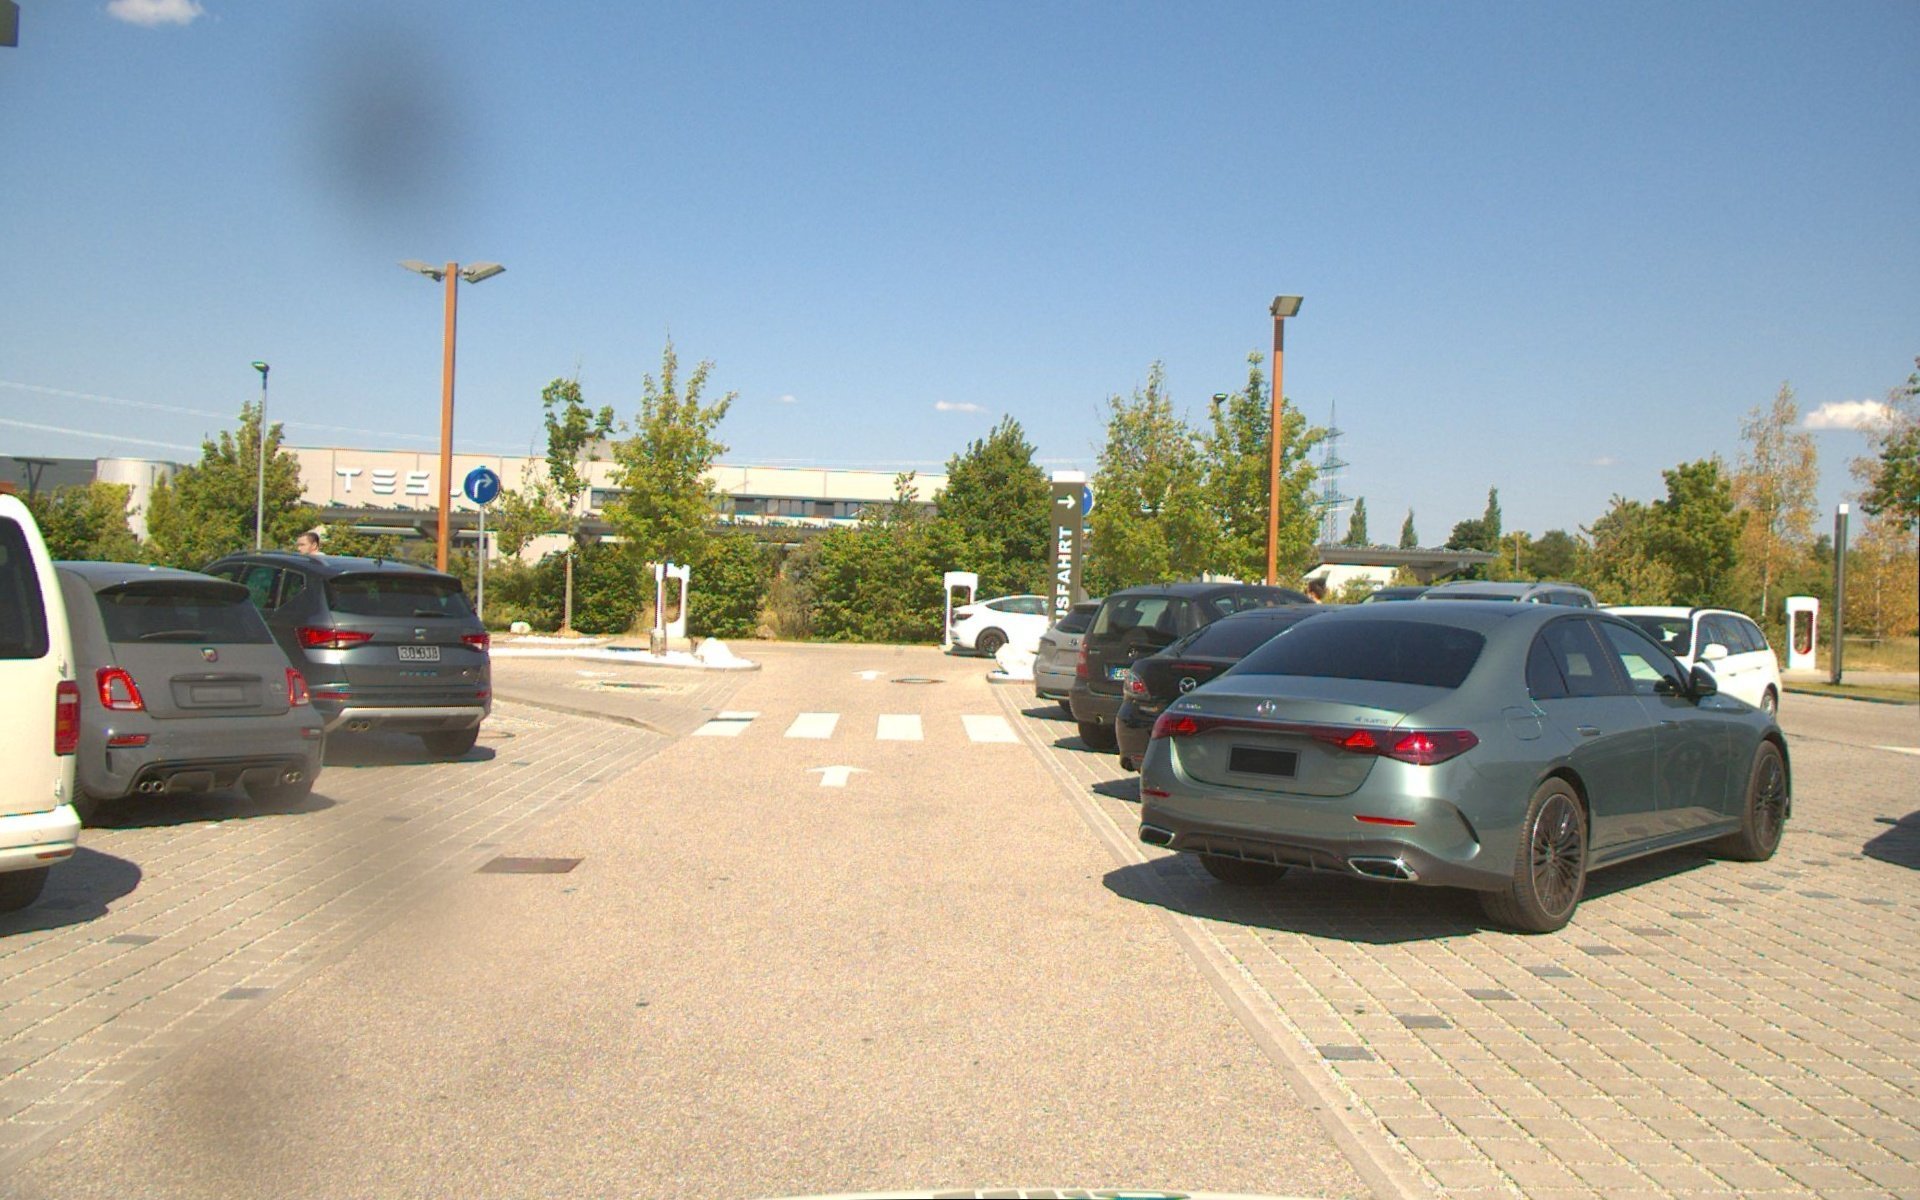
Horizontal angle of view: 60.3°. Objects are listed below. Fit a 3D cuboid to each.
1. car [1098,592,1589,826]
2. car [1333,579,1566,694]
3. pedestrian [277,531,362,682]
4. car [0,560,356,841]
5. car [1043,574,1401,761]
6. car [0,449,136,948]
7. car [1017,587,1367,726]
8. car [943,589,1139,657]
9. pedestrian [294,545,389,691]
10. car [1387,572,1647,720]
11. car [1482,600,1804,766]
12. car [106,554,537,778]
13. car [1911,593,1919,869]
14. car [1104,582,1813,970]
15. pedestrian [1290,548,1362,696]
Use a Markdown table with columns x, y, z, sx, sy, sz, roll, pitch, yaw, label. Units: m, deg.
| x | y | z | sx | sy | sz | roll | pitch | yaw | label |
| --- | --- | --- | --- | --- | --- | --- | --- | --- | --- |
| 3.064 | 0.723 | 12.724 | 4.045 | 1.474 | 1.799 | 1 | 0 | -45 | car |
| 7.471 | 0.487 | 25.001 | 1.861 | 1.563 | 4.168 | 1 | 1 | 40 | car |
| -7.876 | 0.075 | 20.374 | 0.786 | 1.799 | 0.894 | 1 | 0 | -11 | pedestrian |
| -5.573 | 0.517 | 10.652 | 3.347 | 1.508 | 1.562 | 2 | 1 | 36 | car |
| 2.745 | 0.607 | 16.670 | 1.778 | 1.621 | 3.979 | 1 | 0 | 40 | car |
| -5.609 | 0.341 | 7.363 | 4.061 | 1.955 | 1.752 | 1 | 0 | 35 | car |
| 2.934 | 0.603 | 20.152 | 4.628 | 1.472 | 1.806 | 0 | 1 | -45 | car |
| 1.817 | 0.509 | 37.755 | 4.343 | 1.401 | 1.822 | 1 | 0 | 1 | car |
| -7.001 | 0.195 | 18.740 | 0.711 | 1.611 | 0.742 | 1 | 0 | 7 | pedestrian |
| 7.119 | 0.526 | 20.912 | 1.716 | 1.668 | 4.044 | 1 | 0 | 41 | car |
| 7.000 | 0.735 | 16.728 | 1.762 | 1.432 | 4.057 | 1 | 1 | 42 | car |
| -5.563 | 0.452 | 14.168 | 4.153 | 1.631 | 1.780 | 2 | 0 | 42 | car |
| 7.527 | 0.773 | 10.165 | 1.950 | 1.537 | 4.388 | 1 | 0 | 43 | car |
| 2.912 | 0.726 | 8.948 | 1.855 | 1.537 | 4.512 | 1 | 0 | 43 | car |
| 4.397 | 0.256 | 19.853 | 0.558 | 1.743 | 0.602 | 1 | 0 | -39 | pedestrian |
